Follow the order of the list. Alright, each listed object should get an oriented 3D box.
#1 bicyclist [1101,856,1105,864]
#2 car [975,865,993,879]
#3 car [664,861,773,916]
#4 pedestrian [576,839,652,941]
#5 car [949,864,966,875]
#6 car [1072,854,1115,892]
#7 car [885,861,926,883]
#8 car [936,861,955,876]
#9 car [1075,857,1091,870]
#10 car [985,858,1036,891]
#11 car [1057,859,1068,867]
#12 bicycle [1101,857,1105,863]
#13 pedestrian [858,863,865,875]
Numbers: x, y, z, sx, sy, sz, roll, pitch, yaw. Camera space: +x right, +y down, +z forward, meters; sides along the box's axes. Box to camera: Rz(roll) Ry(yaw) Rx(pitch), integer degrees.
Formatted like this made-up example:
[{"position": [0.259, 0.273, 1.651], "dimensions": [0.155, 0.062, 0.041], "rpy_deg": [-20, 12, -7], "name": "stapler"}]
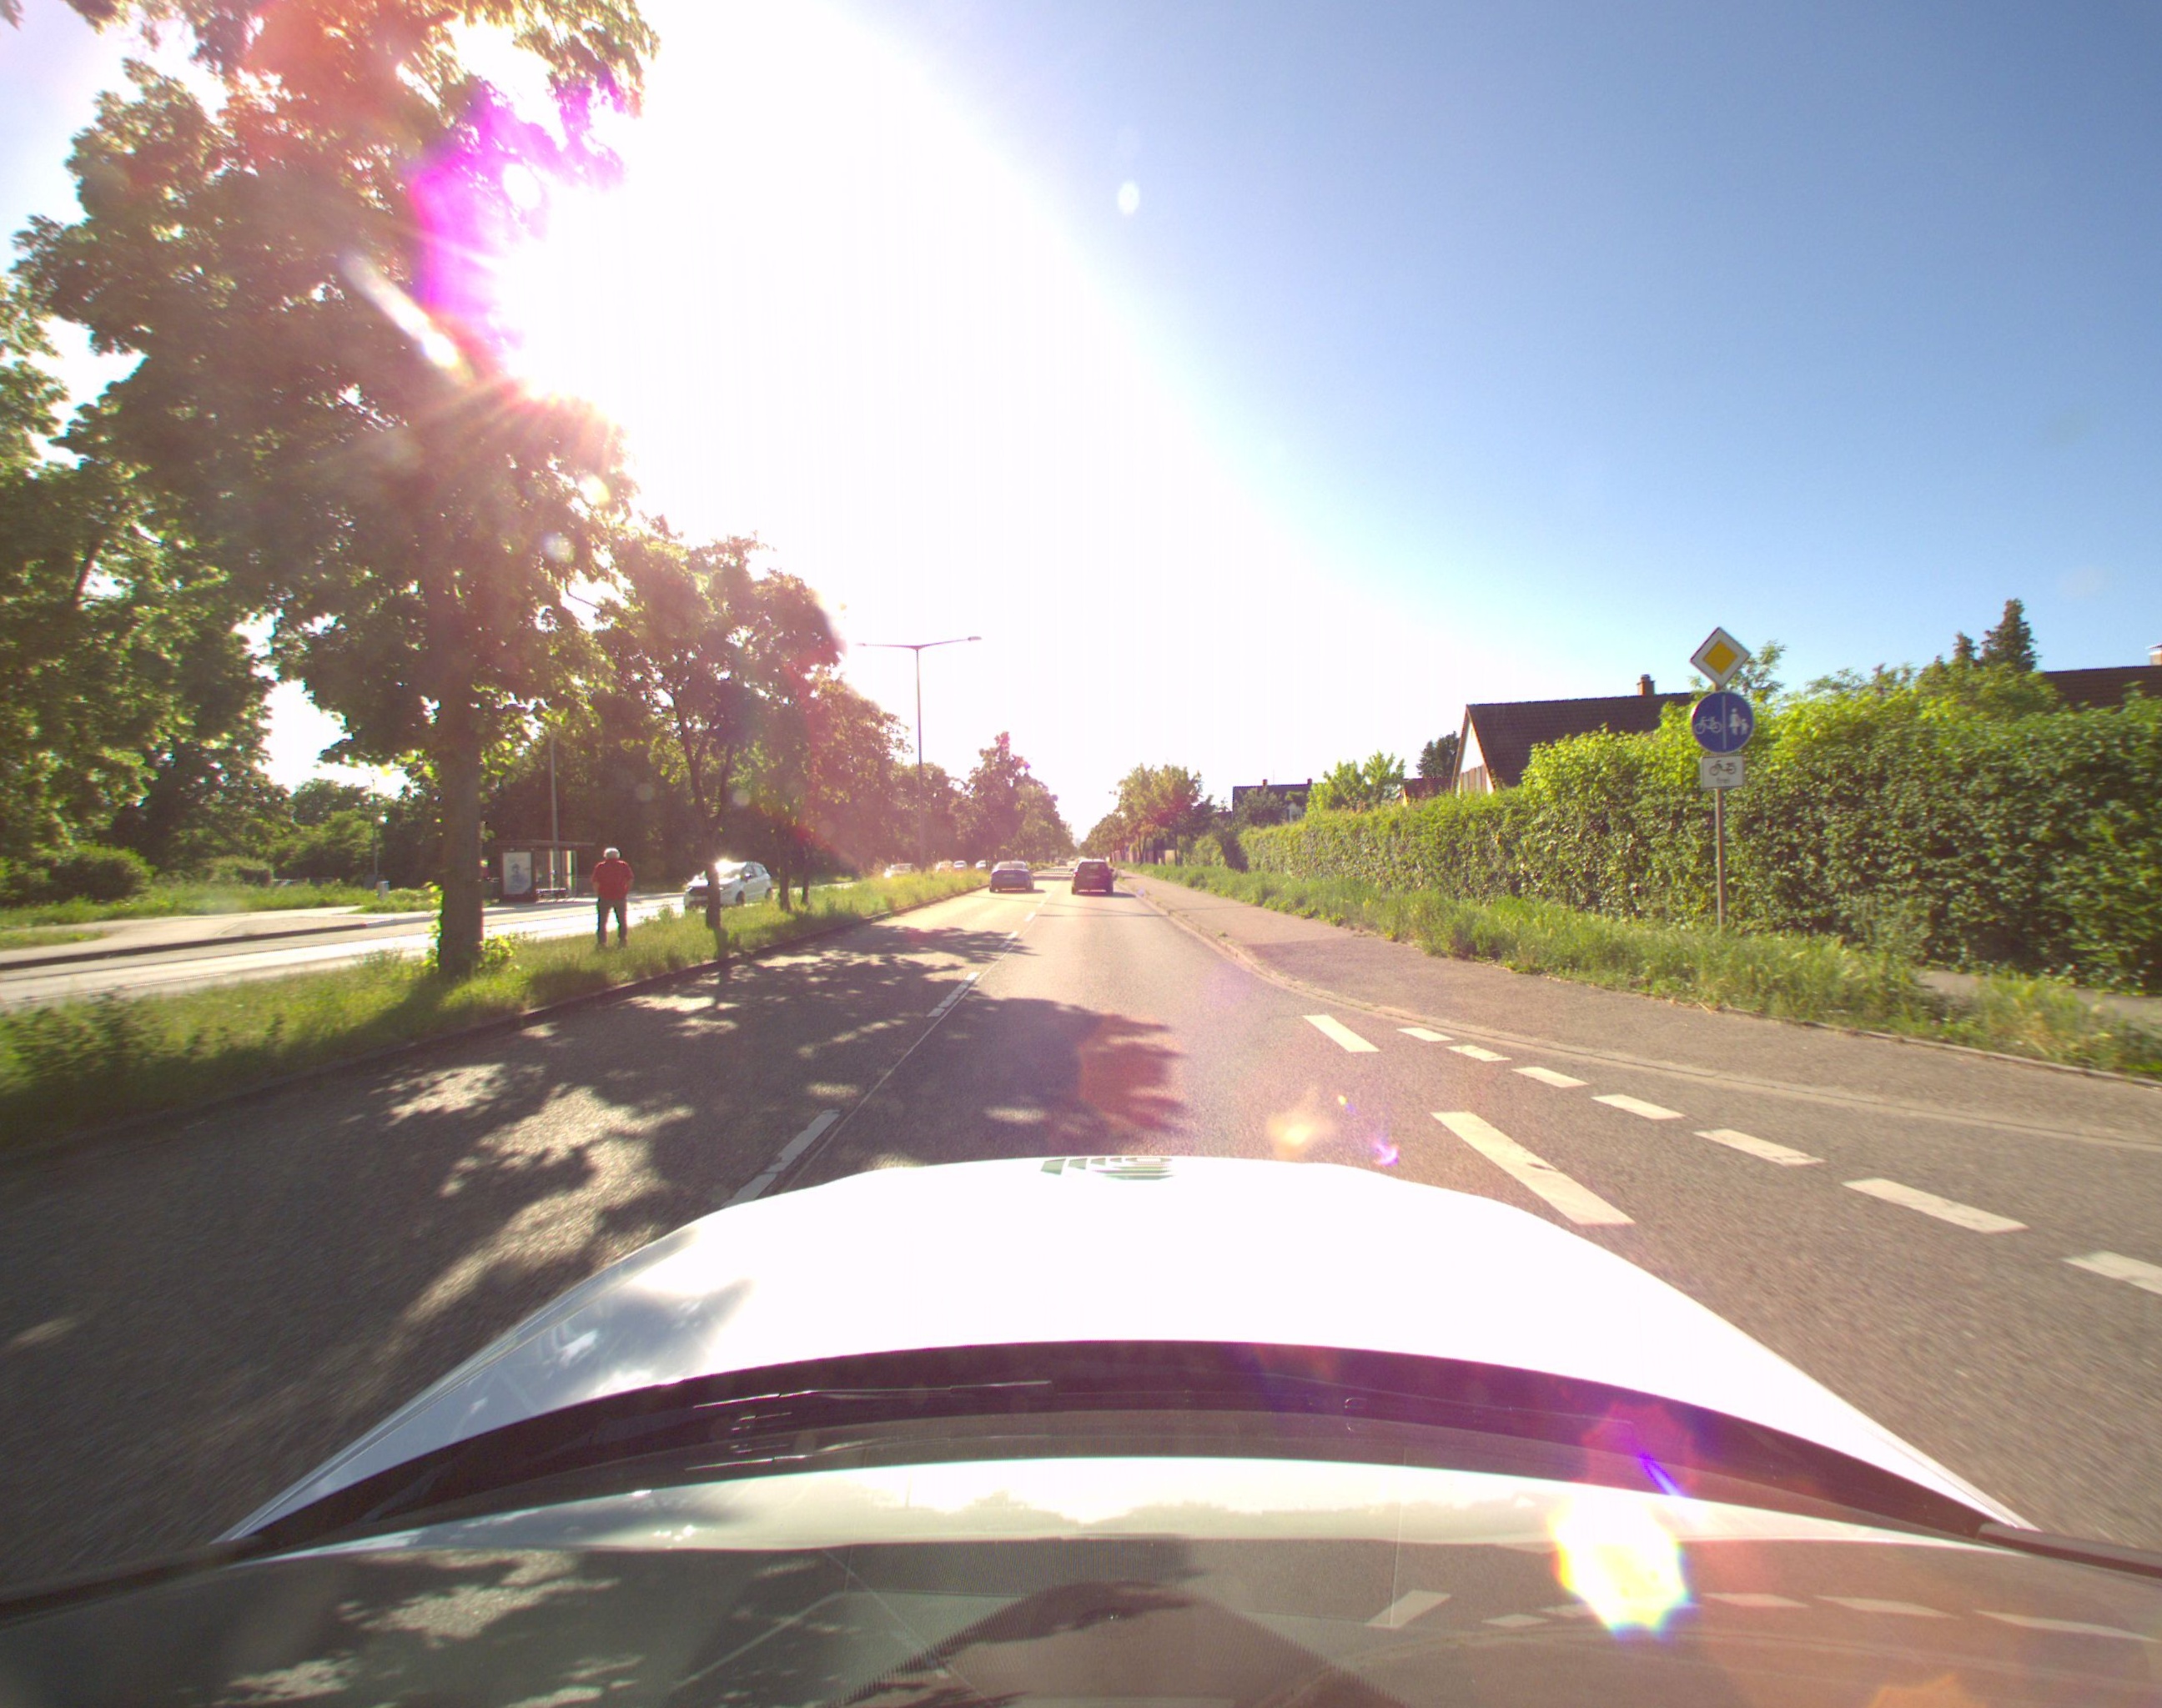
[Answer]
[{"position": [3.993, 1.011, 147.289], "dimensions": [0.678, 1.418, 0.812], "rpy_deg": [-1, -1, -1], "name": "bicyclist"}, {"position": [-12.247, 2.260, 103.317], "dimensions": [1.708, 1.602, 4.357], "rpy_deg": [-1, 0, 0], "name": "car"}, {"position": [-12.002, 1.077, 27.301], "dimensions": [1.725, 1.632, 4.197], "rpy_deg": [-2, 0, 0], "name": "car"}, {"position": [-8.124, 0.599, 14.182], "dimensions": [0.624, 1.696, 0.949], "rpy_deg": [-1, 0, 30], "name": "pedestrian"}, {"position": [-16.689, 2.070, 110.328], "dimensions": [1.833, 1.413, 3.997], "rpy_deg": [-1, 0, -2], "name": "car"}, {"position": [0.538, 0.795, 35.144], "dimensions": [1.754, 1.559, 4.000], "rpy_deg": [1, -1, 1], "name": "car"}, {"position": [-12.008, 1.198, 56.004], "dimensions": [1.776, 1.361, 4.977], "rpy_deg": [-1, 0, -1], "name": "car"}, {"position": [-15.816, 1.710, 95.283], "dimensions": [1.600, 1.563, 3.997], "rpy_deg": [-3, 0, -2], "name": "car"}, {"position": [0.276, 1.260, 105.806], "dimensions": [1.741, 1.597, 4.168], "rpy_deg": [-1, 0, -5], "name": "car"}, {"position": [-3.242, 0.900, 38.244], "dimensions": [1.988, 1.405, 4.000], "rpy_deg": [-1, 0, 0], "name": "car"}, {"position": [-3.716, 1.747, 163.171], "dimensions": [1.974, 1.440, 3.994], "rpy_deg": [-1, 0, -4], "name": "car"}, {"position": [3.969, 1.075, 147.131], "dimensions": [0.653, 0.892, 1.874], "rpy_deg": [-1, 0, 0], "name": "bicycle"}, {"position": [-27.248, 1.911, 101.204], "dimensions": [0.543, 1.460, 0.917], "rpy_deg": [-1, -1, 0], "name": "pedestrian"}]
